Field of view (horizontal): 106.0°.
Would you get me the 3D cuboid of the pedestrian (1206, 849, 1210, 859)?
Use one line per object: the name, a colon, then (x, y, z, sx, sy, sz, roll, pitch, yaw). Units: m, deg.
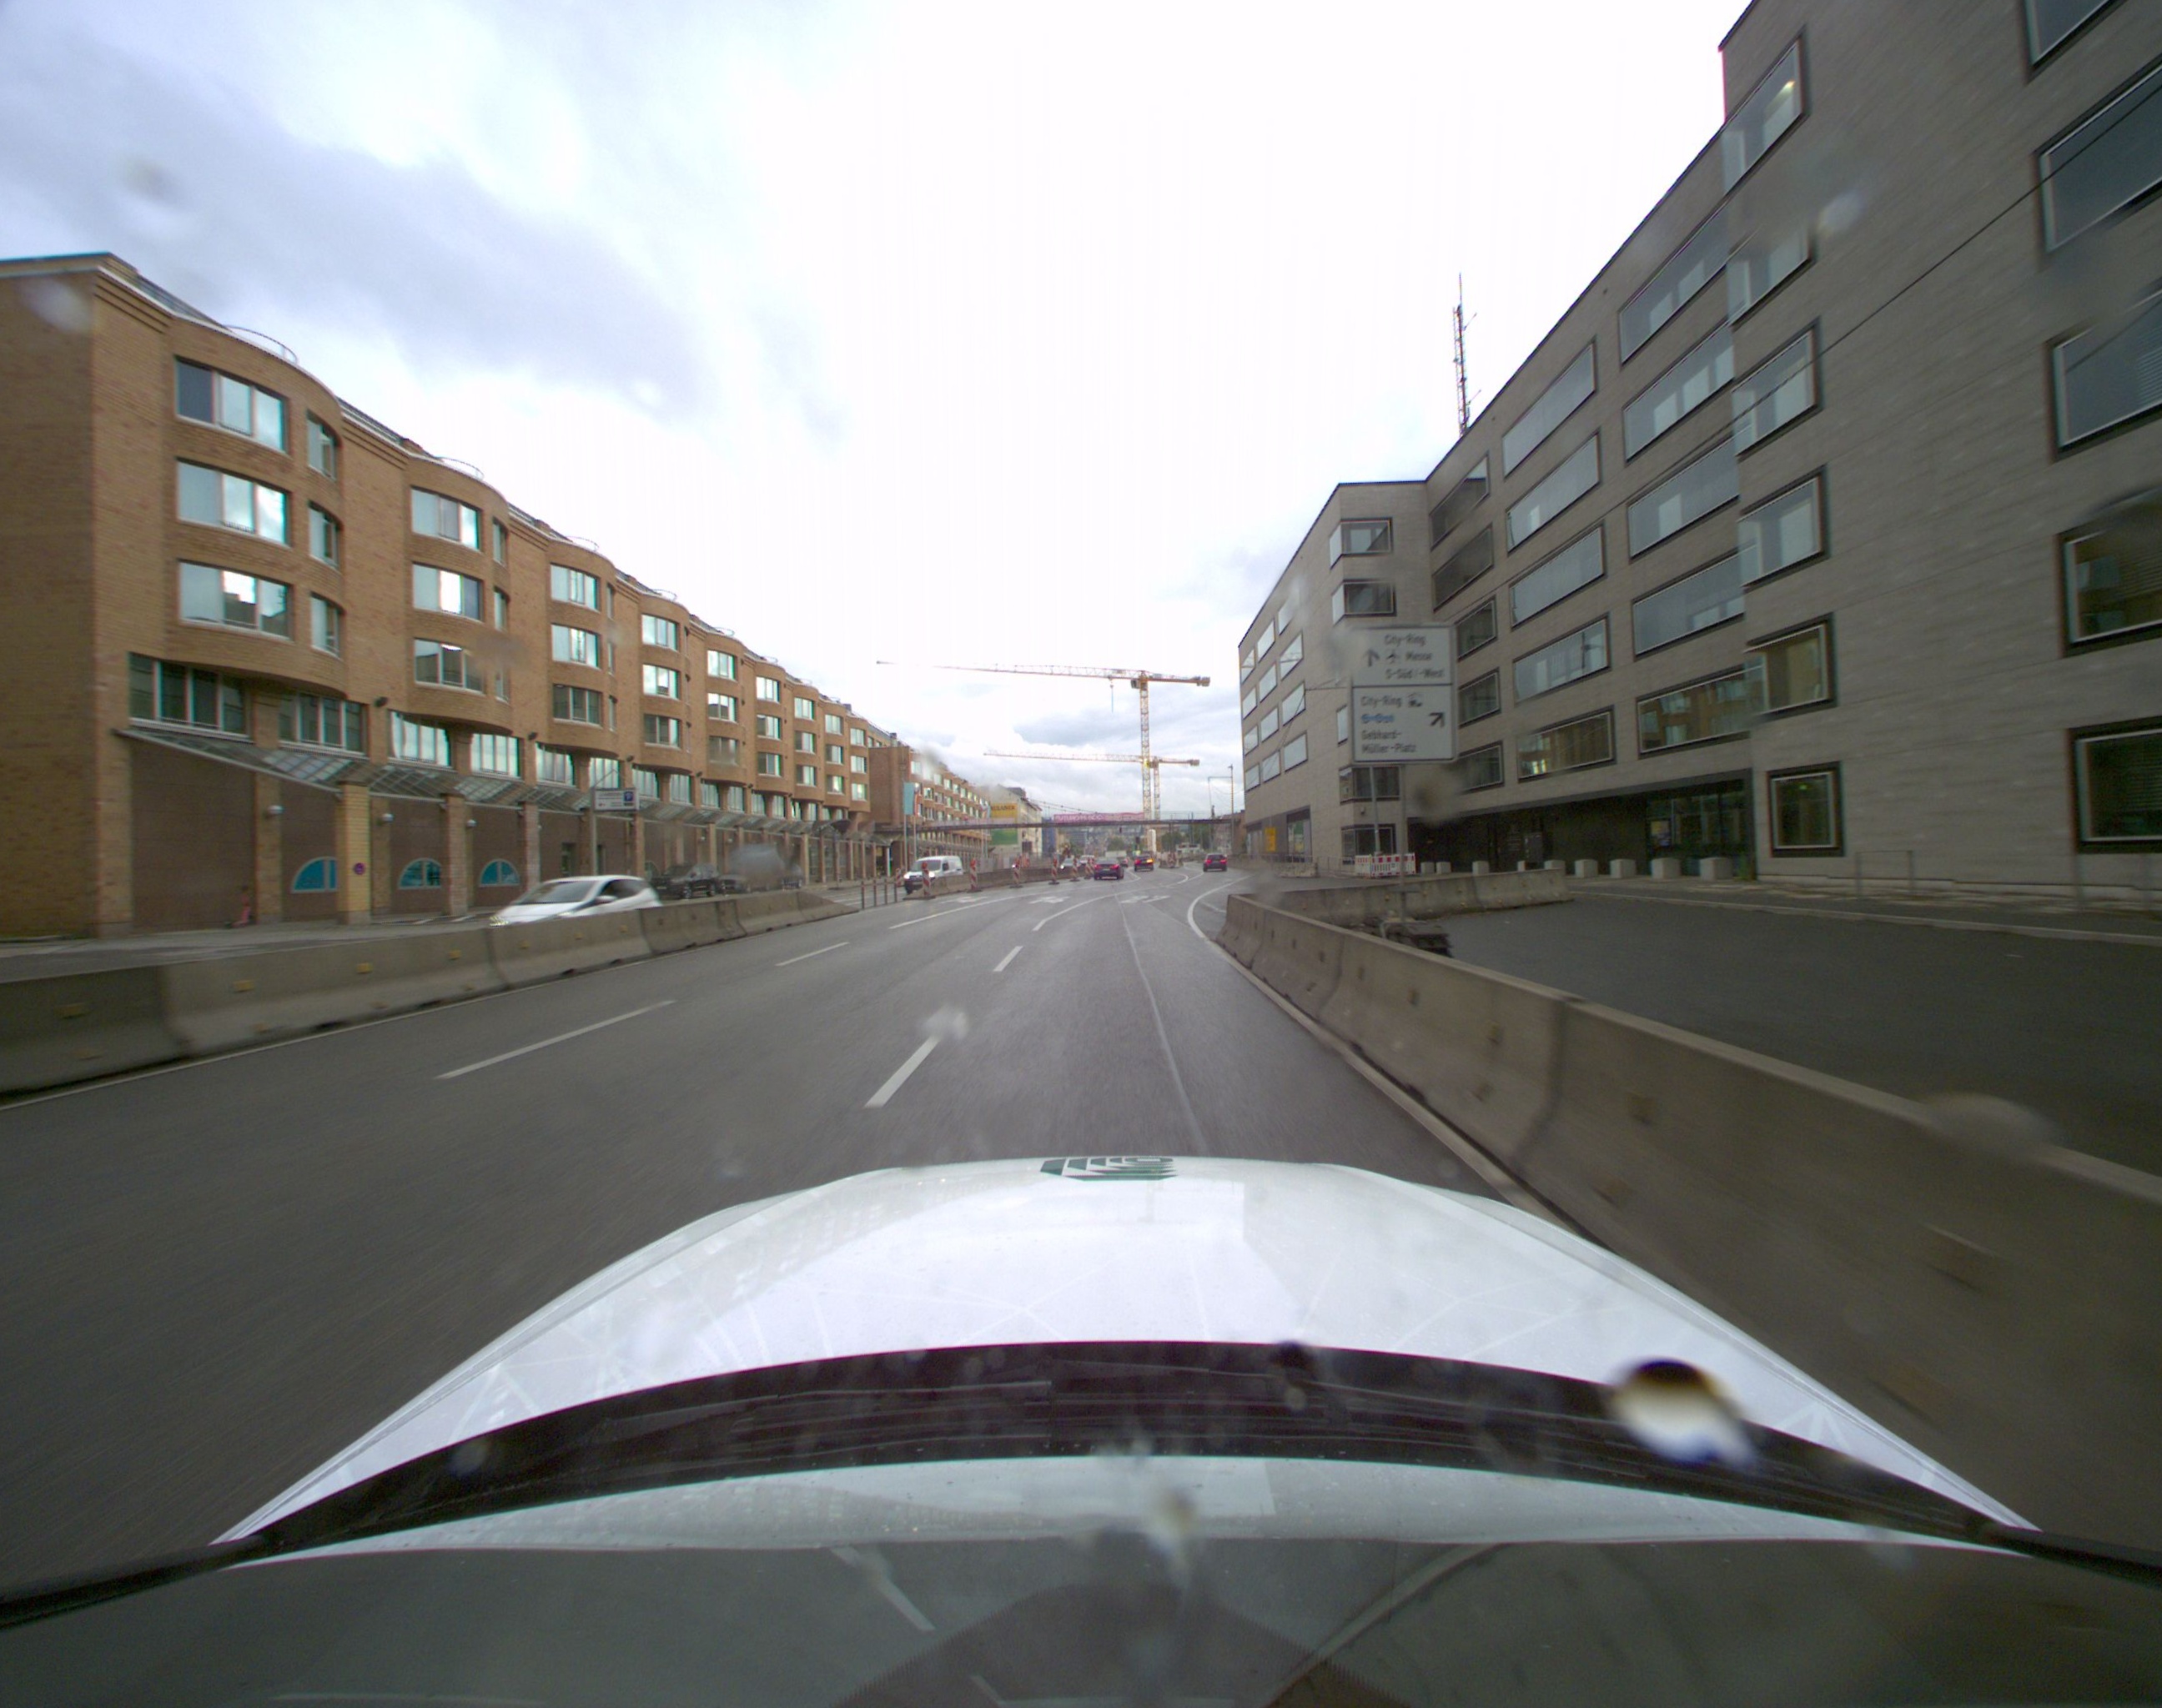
pedestrian: (26.201, -0.046, 167.765, 0.622, 2.013, 0.666, -2, 0, 14)

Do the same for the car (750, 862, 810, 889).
car: (-21.017, 1.495, 57.129, 1.985, 1.690, 5.055, -2, 0, 4)

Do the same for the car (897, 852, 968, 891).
car: (-7.410, 0.823, 41.176, 1.874, 1.783, 4.890, -2, 0, 10)

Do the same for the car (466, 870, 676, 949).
car: (-9.687, 0.991, 15.850, 1.606, 1.231, 3.729, -2, 0, 2)

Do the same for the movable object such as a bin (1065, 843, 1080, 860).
movable object such as a bin: (-1.291, -0.335, 124.384, 2.020, 2.277, 4.291, -6, -1, -1)

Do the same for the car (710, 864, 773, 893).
car: (-21.283, 1.509, 51.249, 1.987, 1.594, 4.539, -2, 0, 0)

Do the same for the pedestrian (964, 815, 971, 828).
pedestrian: (-14.026, -4.021, 100.834, 0.617, 1.452, 0.619, -3, 0, 5)

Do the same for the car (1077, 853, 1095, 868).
car: (0.691, 0.827, 103.365, 1.985, 1.885, 4.873, -2, 0, 3)

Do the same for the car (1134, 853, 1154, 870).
car: (6.396, 0.755, 82.465, 1.854, 1.660, 4.662, -2, 0, 5)

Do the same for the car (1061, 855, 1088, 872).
car: (-0.554, 0.899, 76.825, 1.983, 1.459, 4.236, -2, 0, 6)

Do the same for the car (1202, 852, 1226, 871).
car: (10.733, 0.587, 65.866, 1.852, 1.433, 4.667, -2, 0, 8)

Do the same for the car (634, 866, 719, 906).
car: (-21.537, 1.640, 43.633, 1.987, 1.886, 5.013, -2, 0, 0)

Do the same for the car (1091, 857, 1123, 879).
car: (1.843, 0.941, 56.512, 1.853, 1.443, 4.664, -2, 0, 6)

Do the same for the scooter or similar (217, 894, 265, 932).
scooter or similar: (-25.529, 1.785, 24.759, 0.449, 1.063, 1.041, -2, 0, -9)

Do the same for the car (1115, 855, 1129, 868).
car: (5.737, 1.074, 114.717, 1.856, 1.765, 4.657, -2, 0, 1)
